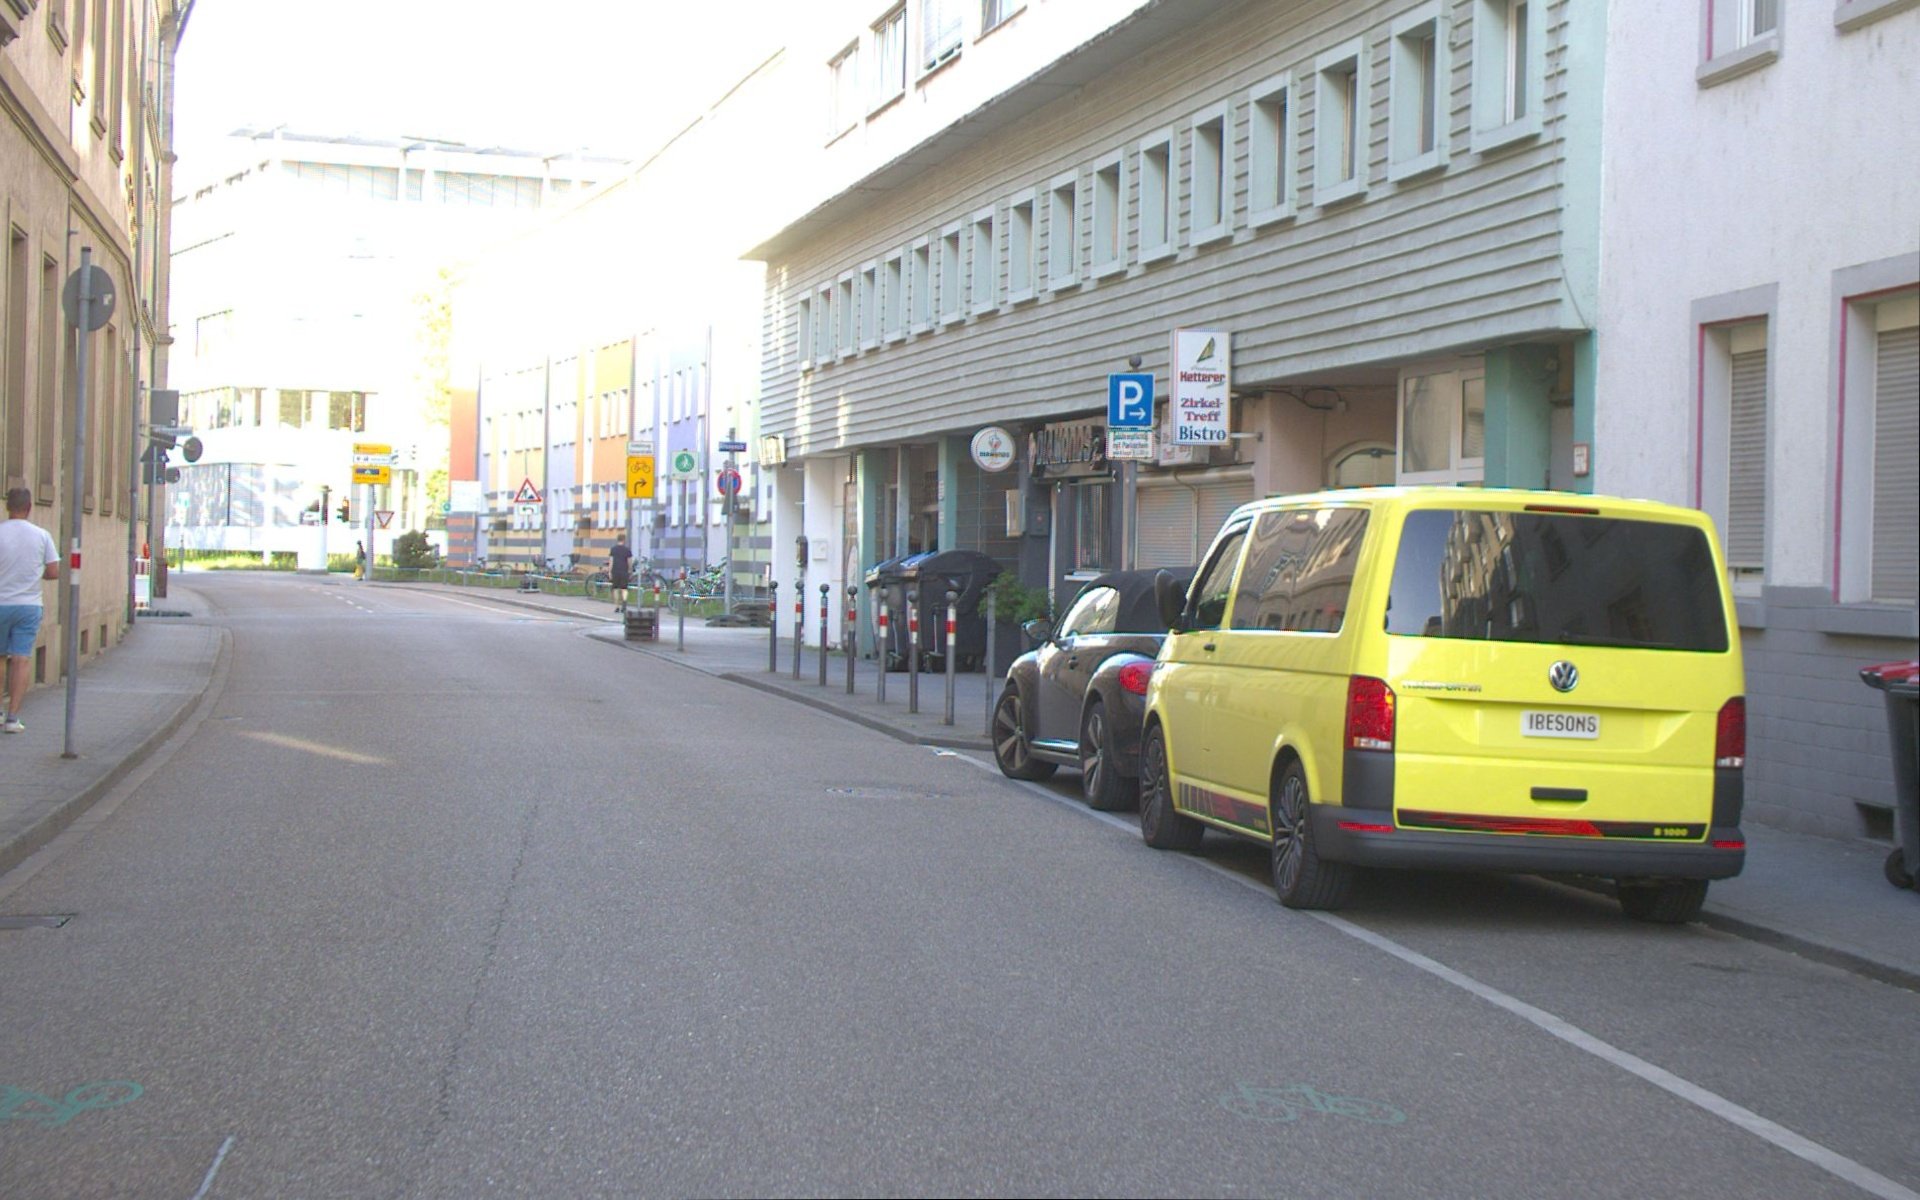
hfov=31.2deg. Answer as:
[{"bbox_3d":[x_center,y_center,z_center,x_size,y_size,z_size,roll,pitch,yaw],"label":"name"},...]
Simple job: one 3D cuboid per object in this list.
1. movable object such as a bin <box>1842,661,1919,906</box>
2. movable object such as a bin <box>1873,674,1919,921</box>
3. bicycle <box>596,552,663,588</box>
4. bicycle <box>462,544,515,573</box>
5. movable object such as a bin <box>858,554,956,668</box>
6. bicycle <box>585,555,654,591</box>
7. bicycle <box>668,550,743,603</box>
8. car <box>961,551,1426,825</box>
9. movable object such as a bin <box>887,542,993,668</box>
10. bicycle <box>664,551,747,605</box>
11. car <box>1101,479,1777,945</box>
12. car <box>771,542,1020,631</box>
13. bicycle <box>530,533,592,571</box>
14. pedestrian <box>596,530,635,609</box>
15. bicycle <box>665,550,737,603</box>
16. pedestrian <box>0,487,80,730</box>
[{"bbox_3d":[4.493,0.820,15.732,0.606,1.047,0.709,-3,1,-9],"label":"movable object such as a bin"},{"bbox_3d":[4.444,0.849,14.920,0.626,1.047,0.709,-3,1,-13],"label":"movable object such as a bin"},{"bbox_3d":[-8.811,-0.791,91.758,1.748,0.943,0.326,0,0,-12],"label":"bicycle"},{"bbox_3d":[-16.452,-1.438,120.022,1.753,1.000,0.613,0,0,-18],"label":"bicycle"},{"bbox_3d":[-0.660,0.147,42.369,0.981,1.380,1.321,0,-1,-11],"label":"movable object such as a bin"},{"bbox_3d":[-8.904,-0.704,89.869,1.748,0.943,0.552,0,0,-13],"label":"bicycle"},{"bbox_3d":[-5.749,-0.527,77.742,1.640,1.137,0.283,-2,2,-21],"label":"bicycle"},{"bbox_3d":[1.365,0.488,22.049,1.883,1.484,4.369,2,1,-11],"label":"car"},{"bbox_3d":[-0.246,0.072,40.842,0.981,1.475,1.552,0,-1,-11],"label":"movable object such as a bin"},{"bbox_3d":[-5.659,-0.493,76.314,1.748,1.137,0.552,-2,2,-13],"label":"bicycle"},{"bbox_3d":[2.104,0.424,16.699,1.883,1.875,4.847,2,1,-8],"label":"car"},{"bbox_3d":[-1.160,-0.242,60.940,4.077,1.477,1.866,1,1,-13],"label":"car"},{"bbox_3d":[-12.341,-1.491,106.312,1.810,1.133,0.552,1,0,-15],"label":"bicycle"},{"bbox_3d":[-7.746,-0.700,77.301,0.696,1.754,1.189,-1,1,-13],"label":"pedestrian"},{"bbox_3d":[-5.864,-0.531,77.993,1.602,1.137,0.237,-2,2,-21],"label":"bicycle"},{"bbox_3d":[-6.666,0.050,24.292,0.692,1.664,0.875,4,0,-9],"label":"pedestrian"}]
